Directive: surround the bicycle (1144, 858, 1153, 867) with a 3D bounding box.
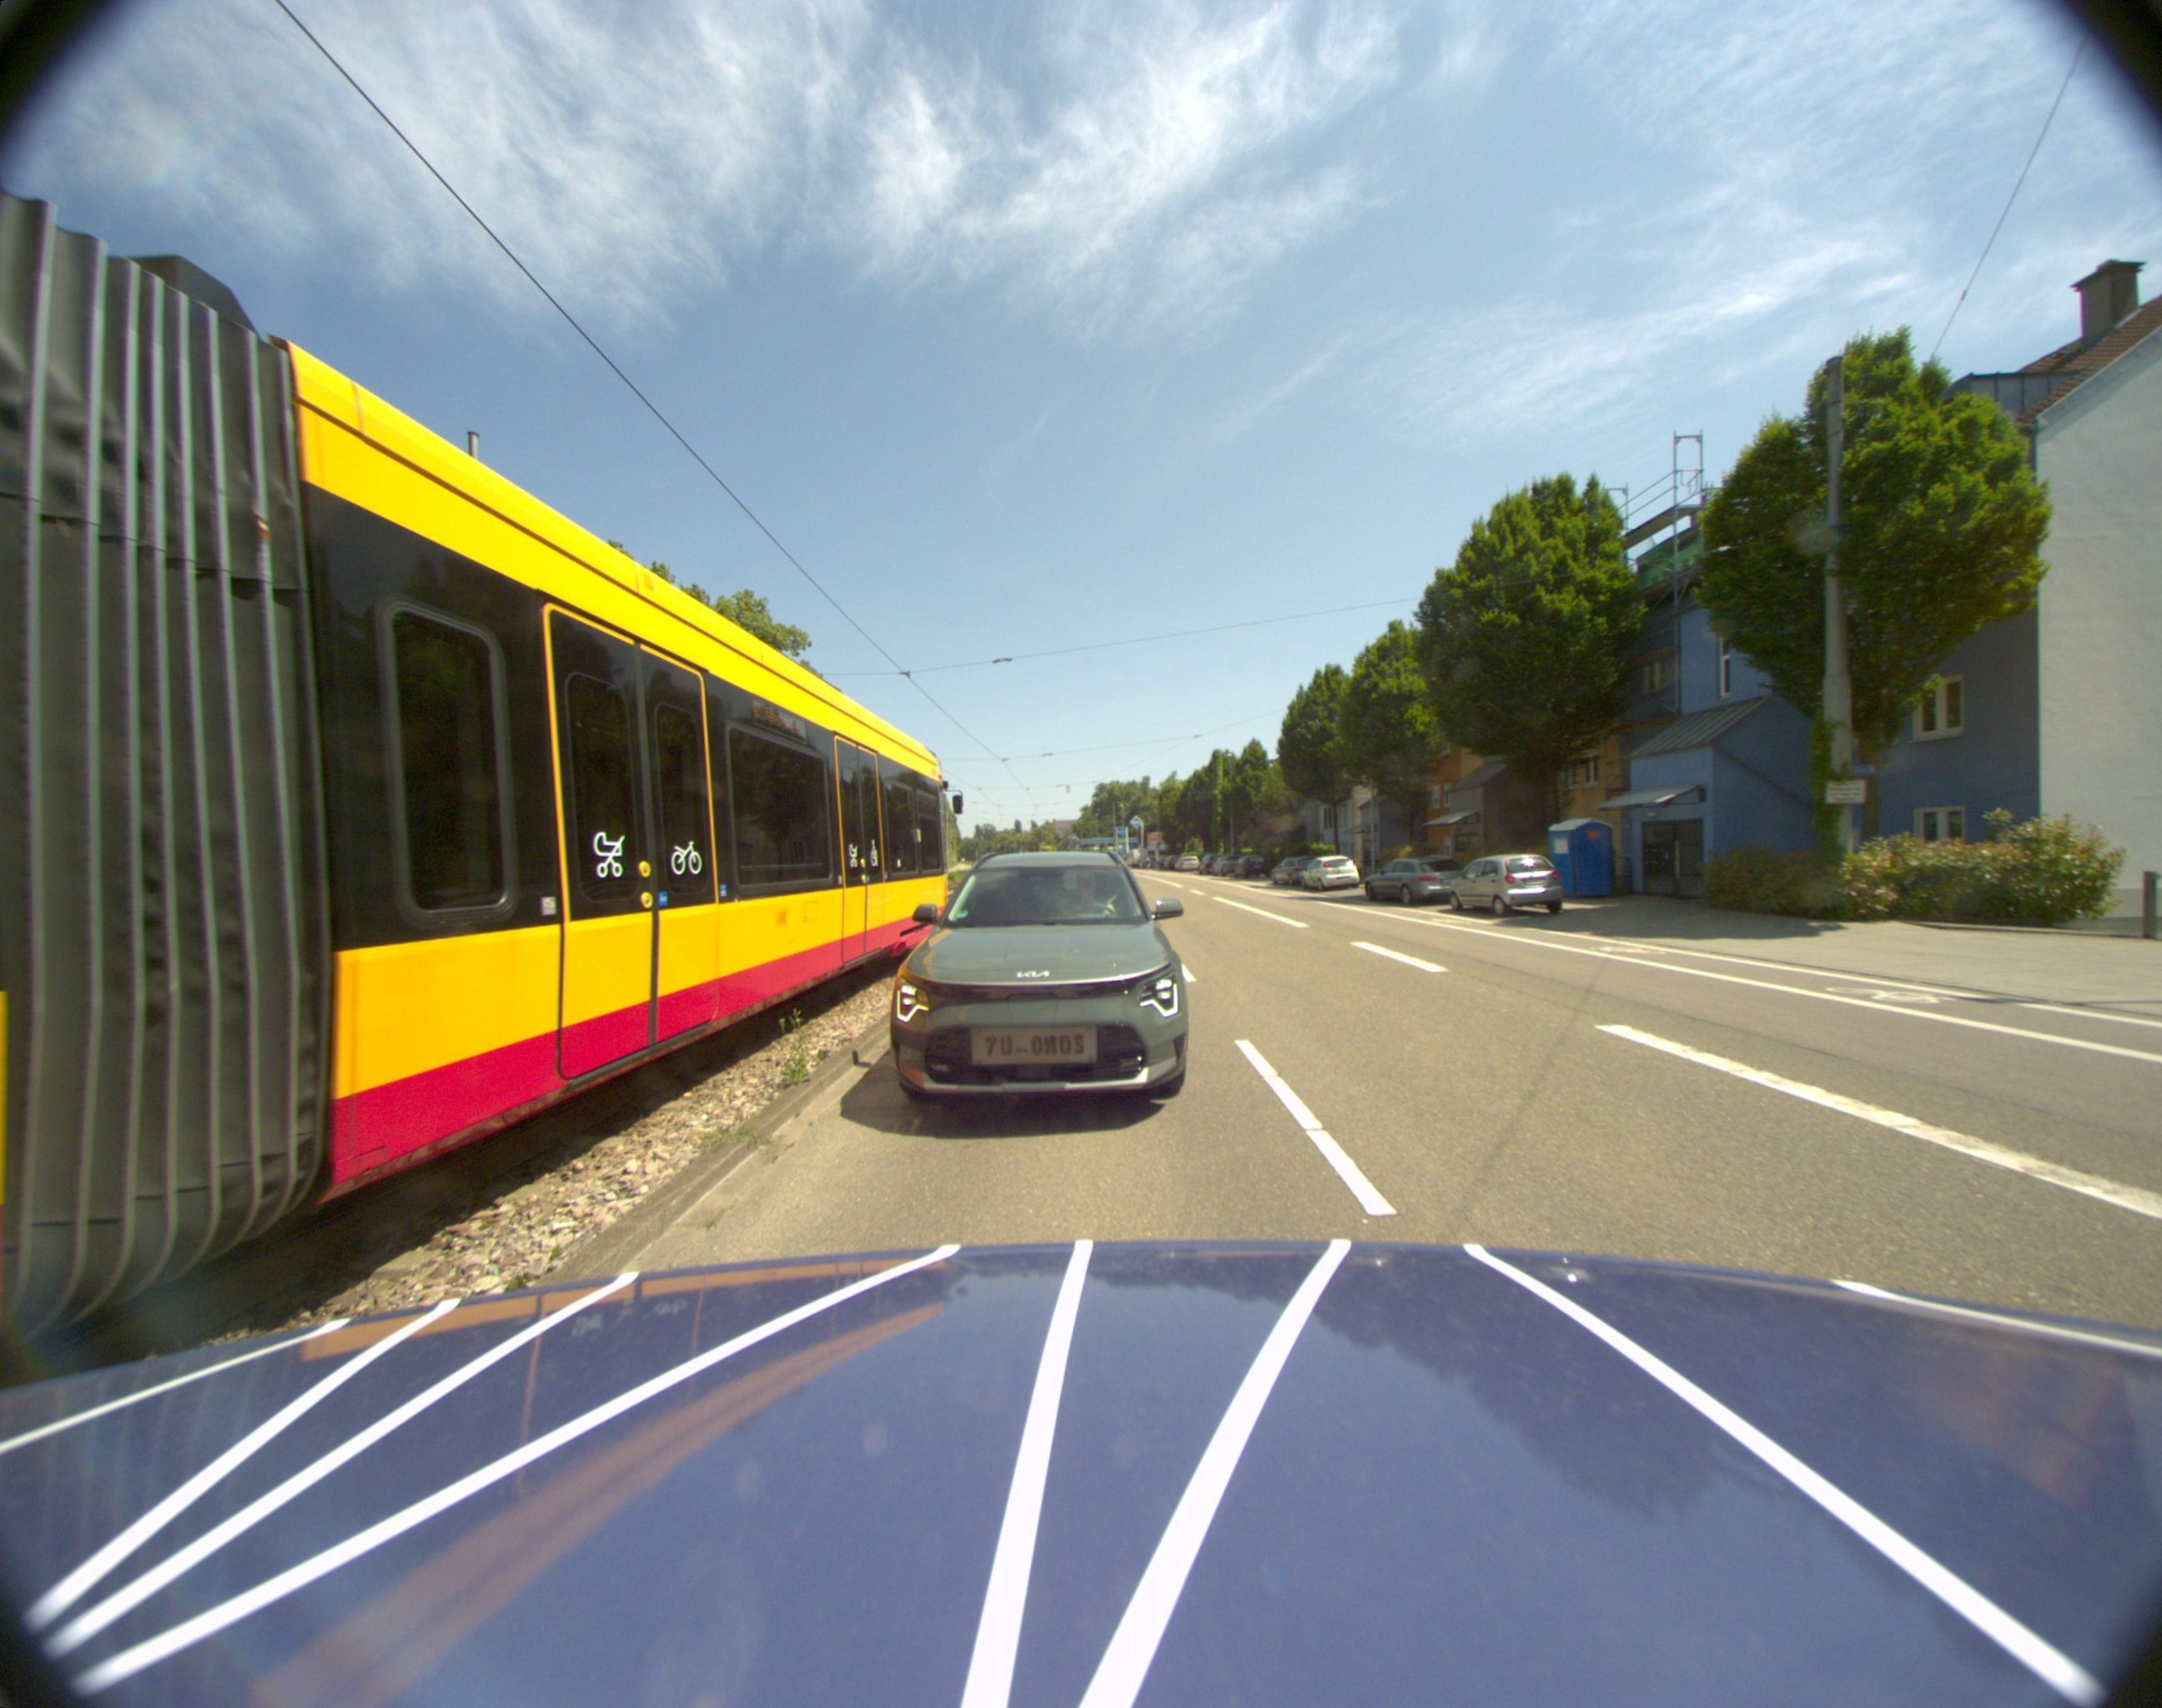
[{"bbox_3d":[7.352,0.924,82.548,0.703,0.945,2.243,1,-1,-2],"label":"bicycle"}]

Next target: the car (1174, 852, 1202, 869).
[{"bbox_3d":[10.426,0.638,74.116,1.845,1.573,4.495,-3,0,-2],"label":"car"}]

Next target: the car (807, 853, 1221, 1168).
[{"bbox_3d":[-0.251,0.820,5.924,2.062,1.534,4.001,-3,0,3],"label":"car"}]

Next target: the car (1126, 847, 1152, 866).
[{"bbox_3d":[7.630,0.348,100.148,2.285,2.294,5.226,-3,0,-8],"label":"car"}]

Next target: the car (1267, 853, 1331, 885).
[{"bbox_3d":[11.482,0.755,40.369,1.708,1.421,4.750,-6,0,-3],"label":"car"}]

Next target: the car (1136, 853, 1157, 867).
[{"bbox_3d":[8.045,0.758,93.927,1.870,1.528,4.142,-3,0,-4],"label":"car"}]

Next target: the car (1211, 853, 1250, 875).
[{"bbox_3d":[11.168,0.702,56.974,1.830,1.487,4.756,-3,0,-1],"label":"car"}]

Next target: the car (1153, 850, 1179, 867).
[{"bbox_3d":[9.486,0.494,85.215,1.999,1.783,4.556,-2,0,-5],"label":"car"}]

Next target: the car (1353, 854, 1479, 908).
[{"bbox_3d":[10.961,0.837,25.314,1.791,1.441,5.133,-5,-1,0],"label":"car"}]

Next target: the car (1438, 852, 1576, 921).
[{"bbox_3d":[11.027,0.780,19.942,1.597,1.487,3.448,-6,0,1],"label":"car"}]

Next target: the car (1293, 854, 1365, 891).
[{"bbox_3d":[11.375,0.819,35.176,1.750,1.434,4.420,-6,0,0],"label":"car"}]

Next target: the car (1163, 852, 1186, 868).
[{"bbox_3d":[9.816,0.667,80.008,1.604,1.584,3.680,-3,0,-6],"label":"car"}]

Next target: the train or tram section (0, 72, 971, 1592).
[{"bbox_3d":[-3.735,-0.032,8.183,2.747,3.588,12.870,-3,0,1],"label":"train or tram section"}]

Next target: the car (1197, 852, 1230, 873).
[{"bbox_3d":[10.908,0.670,62.795,1.772,1.579,4.147,-3,0,-3],"label":"car"}]

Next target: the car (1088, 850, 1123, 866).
[{"bbox_3d":[3.998,0.610,123.188,5.216,2.294,2.290,-3,0,35],"label":"car"}]

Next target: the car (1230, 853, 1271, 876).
[{"bbox_3d":[11.499,0.699,51.685,1.754,1.424,4.257,-4,0,0],"label":"car"}]

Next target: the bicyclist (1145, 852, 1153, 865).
[{"bbox_3d":[7.362,0.512,82.316,0.737,1.422,1.124,2,1,-2],"label":"bicyclist"}]
